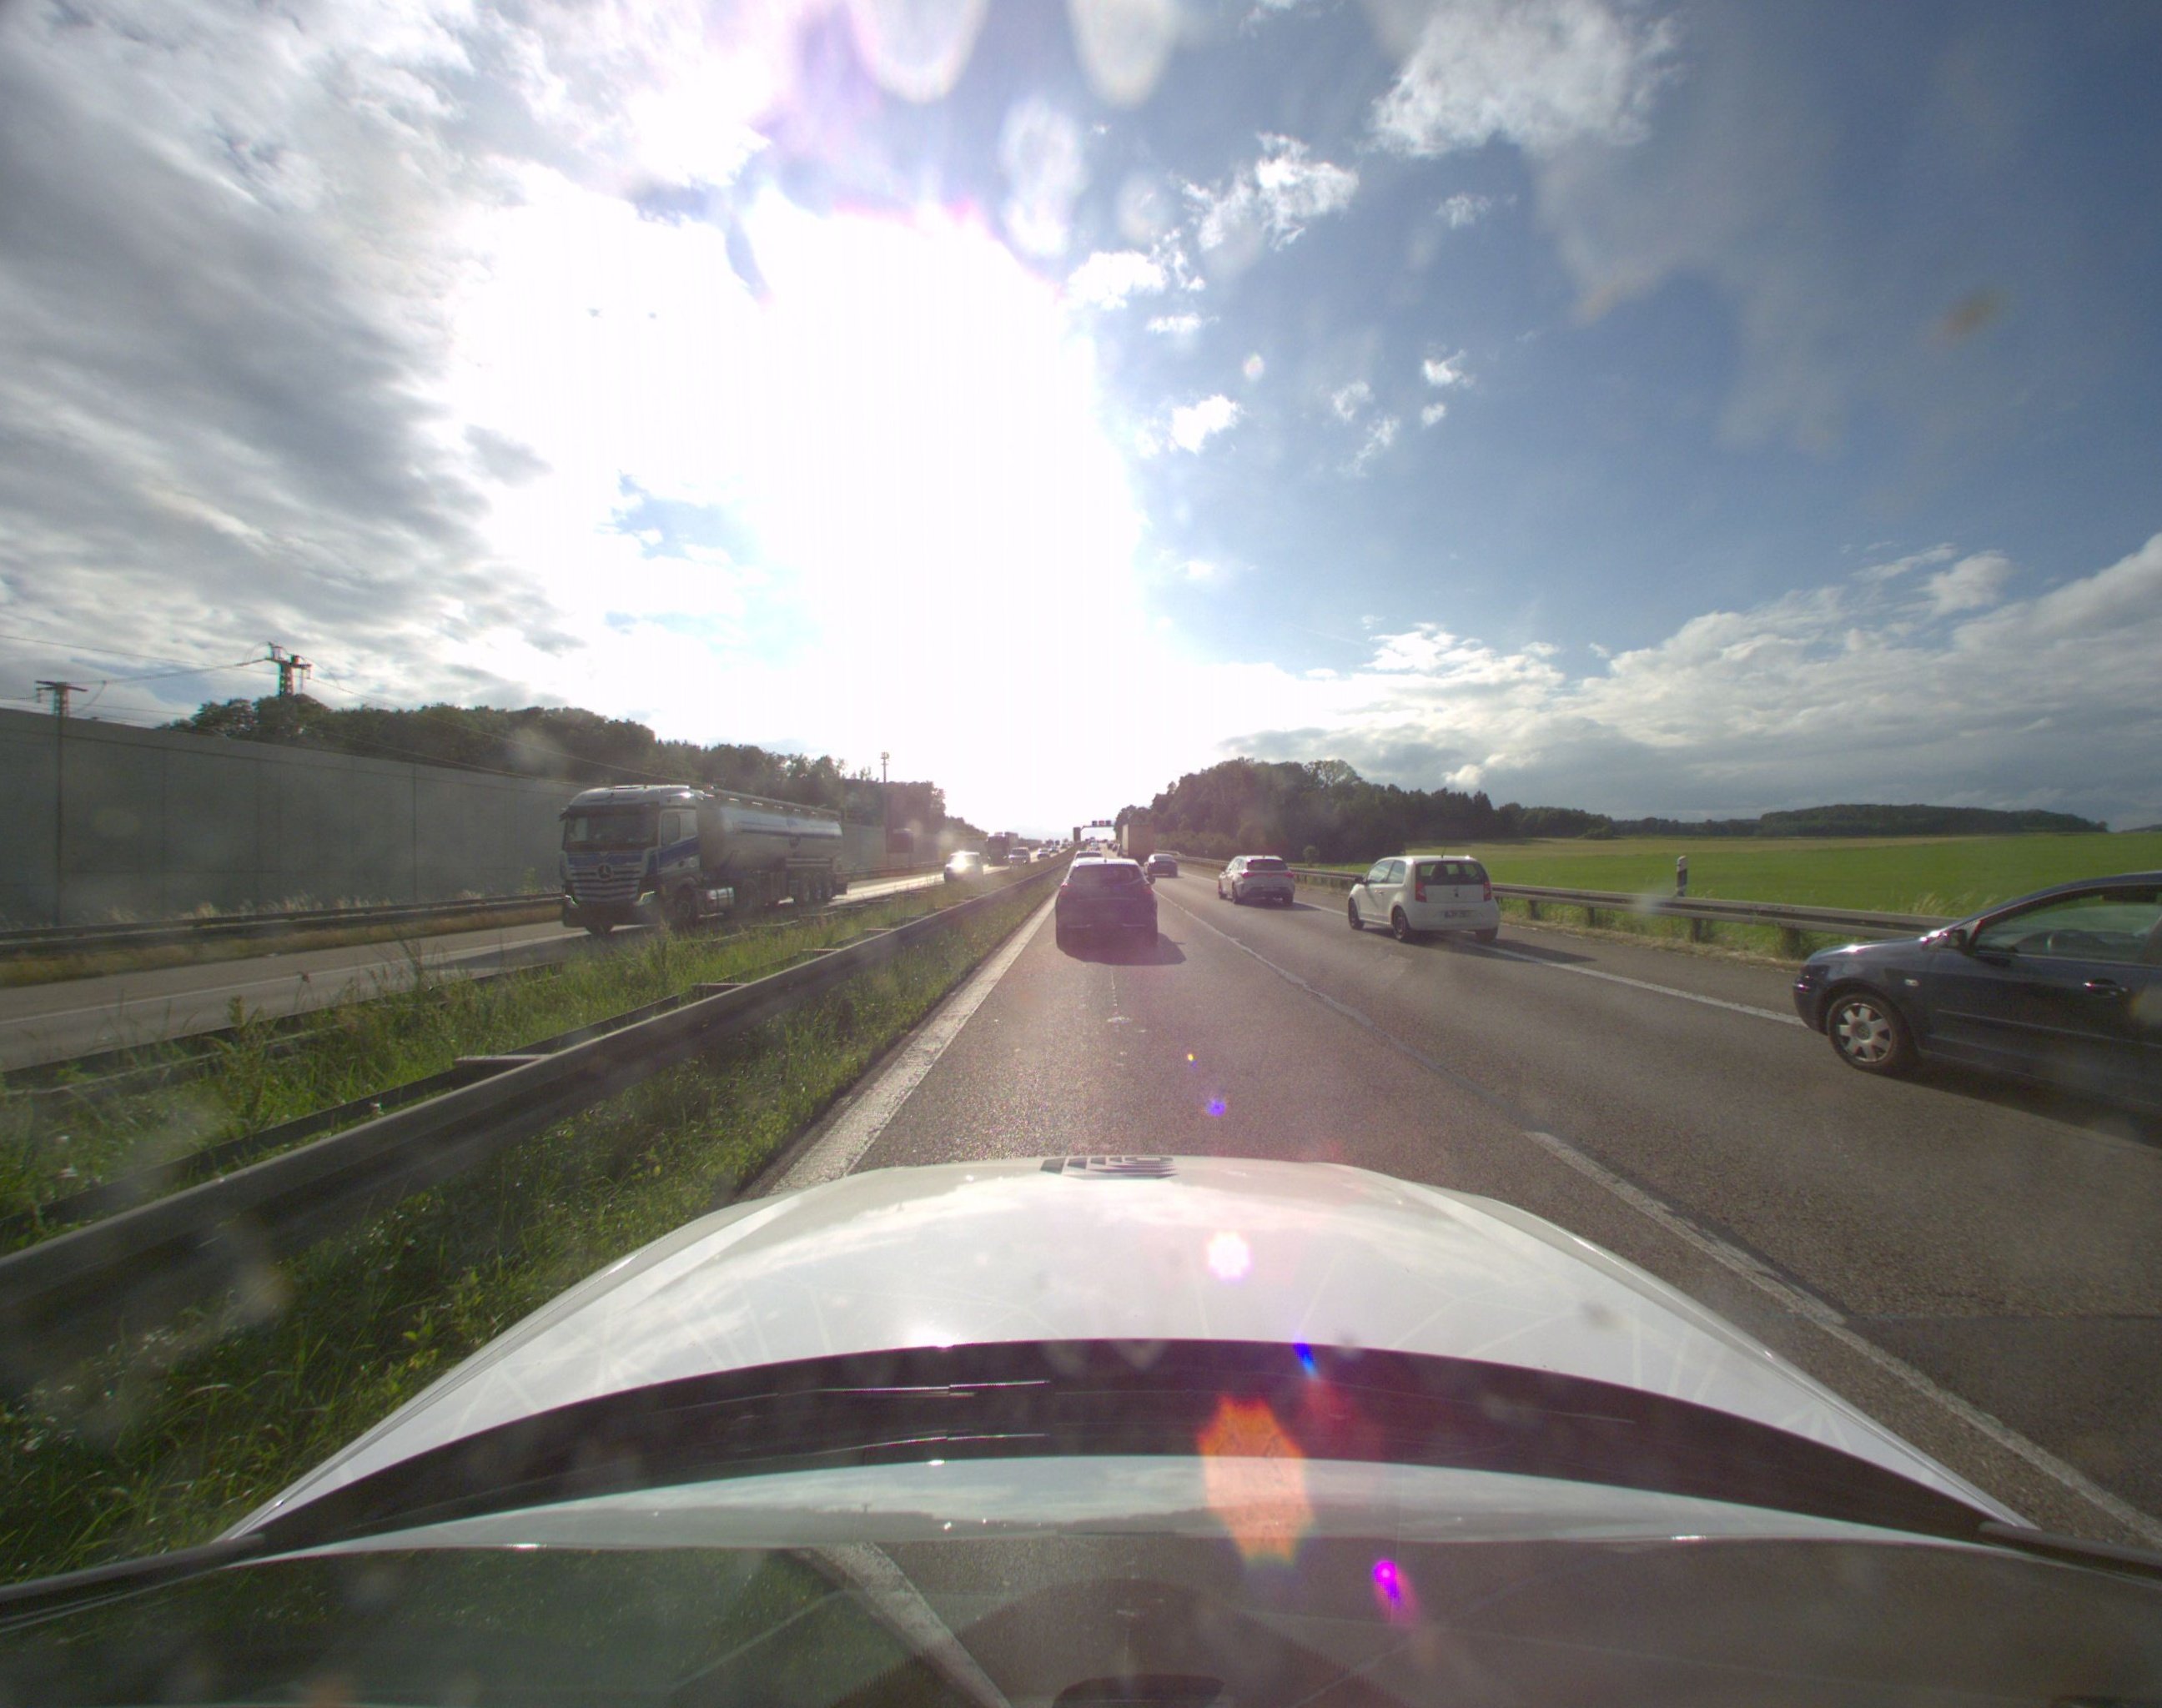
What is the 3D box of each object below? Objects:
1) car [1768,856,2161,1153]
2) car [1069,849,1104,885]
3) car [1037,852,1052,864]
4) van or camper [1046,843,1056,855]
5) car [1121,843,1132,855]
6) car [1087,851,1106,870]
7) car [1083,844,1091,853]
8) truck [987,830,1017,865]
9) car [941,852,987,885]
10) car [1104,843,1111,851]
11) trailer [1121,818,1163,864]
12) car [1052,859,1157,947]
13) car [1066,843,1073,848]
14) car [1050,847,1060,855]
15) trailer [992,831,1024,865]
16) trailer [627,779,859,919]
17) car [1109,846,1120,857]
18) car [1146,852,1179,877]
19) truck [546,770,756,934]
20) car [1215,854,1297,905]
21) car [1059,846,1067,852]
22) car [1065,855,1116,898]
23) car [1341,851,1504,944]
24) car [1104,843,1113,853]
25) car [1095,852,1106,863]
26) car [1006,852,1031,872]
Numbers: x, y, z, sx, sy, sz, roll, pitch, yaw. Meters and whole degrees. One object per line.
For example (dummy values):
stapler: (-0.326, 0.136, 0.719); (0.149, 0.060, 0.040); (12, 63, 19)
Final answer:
car: (6.115, 0.733, 4.326); (1.705, 1.445, 3.772); (0, -1, -1)
car: (0.332, 0.654, 41.686); (1.667, 1.726, 3.597); (0, -1, 2)
car: (-5.561, 0.623, 123.541); (1.881, 1.632, 5.111); (0, -1, 1)
van or camper: (-8.080, -1.274, 220.191); (2.218, 3.079, 6.512); (0, -1, 0)
car: (7.005, -0.743, 126.691); (1.660, 1.755, 3.329); (0, -1, 2)
car: (1.630, 0.709, 88.135); (1.987, 2.014, 3.999); (0, -1, 0)
car: (1.381, -1.300, 200.746); (1.987, 2.014, 3.999); (0, -1, 0)
truck: (-9.612, -0.733, 99.584); (2.744, 4.090, 6.954); (-1, -1, 1)
car: (-6.642, 0.819, 46.657); (1.853, 1.834, 4.282); (0, -1, 2)
car: (7.120, -1.950, 218.759); (1.987, 2.014, 3.999); (0, -1, 0)
trailer: (6.207, -1.232, 85.244); (3.537, 4.457, 12.721); (0, -1, 1)
car: (0.460, 0.822, 14.944); (1.703, 1.426, 3.380); (0, -1, 2)
car: (-3.665, -2.583, 256.263); (1.987, 1.593, 4.448); (0, -1, 0)
car: (-5.223, -0.535, 163.135); (1.895, 1.464, 4.184); (0, -1, 1)
trailer: (-9.387, -0.657, 106.266); (2.749, 4.115, 12.906); (-1, -1, 1)
trailer: (-11.120, -0.076, 28.921); (2.531, 3.771, 12.545); (-2, -1, 2)
car: (6.622, -0.473, 161.557); (1.987, 2.014, 3.999); (0, -1, 0)
car: (5.054, 0.641, 50.816); (1.740, 1.475, 4.148); (0, -1, 2)
truck: (-11.331, -0.024, 22.094); (2.543, 3.798, 5.419); (-3, -1, 2)
car: (5.326, 0.748, 25.264); (1.615, 1.445, 4.145); (0, -1, 0)
car: (-4.498, -1.355, 205.943); (1.987, 1.433, 4.448); (0, -1, 0)
car: (0.376, 0.749, 28.330); (1.667, 1.367, 3.597); (0, -1, 2)
car: (6.099, 0.700, 14.935); (1.544, 1.495, 3.377); (0, 0, -1)
car: (6.092, -1.304, 181.706); (1.987, 2.014, 3.999); (0, -1, 0)
car: (3.346, 0.607, 139.635); (1.660, 1.755, 3.329); (0, -1, 2)
car: (-6.331, 0.769, 82.933); (1.986, 1.883, 4.788); (-3, -1, 1)
